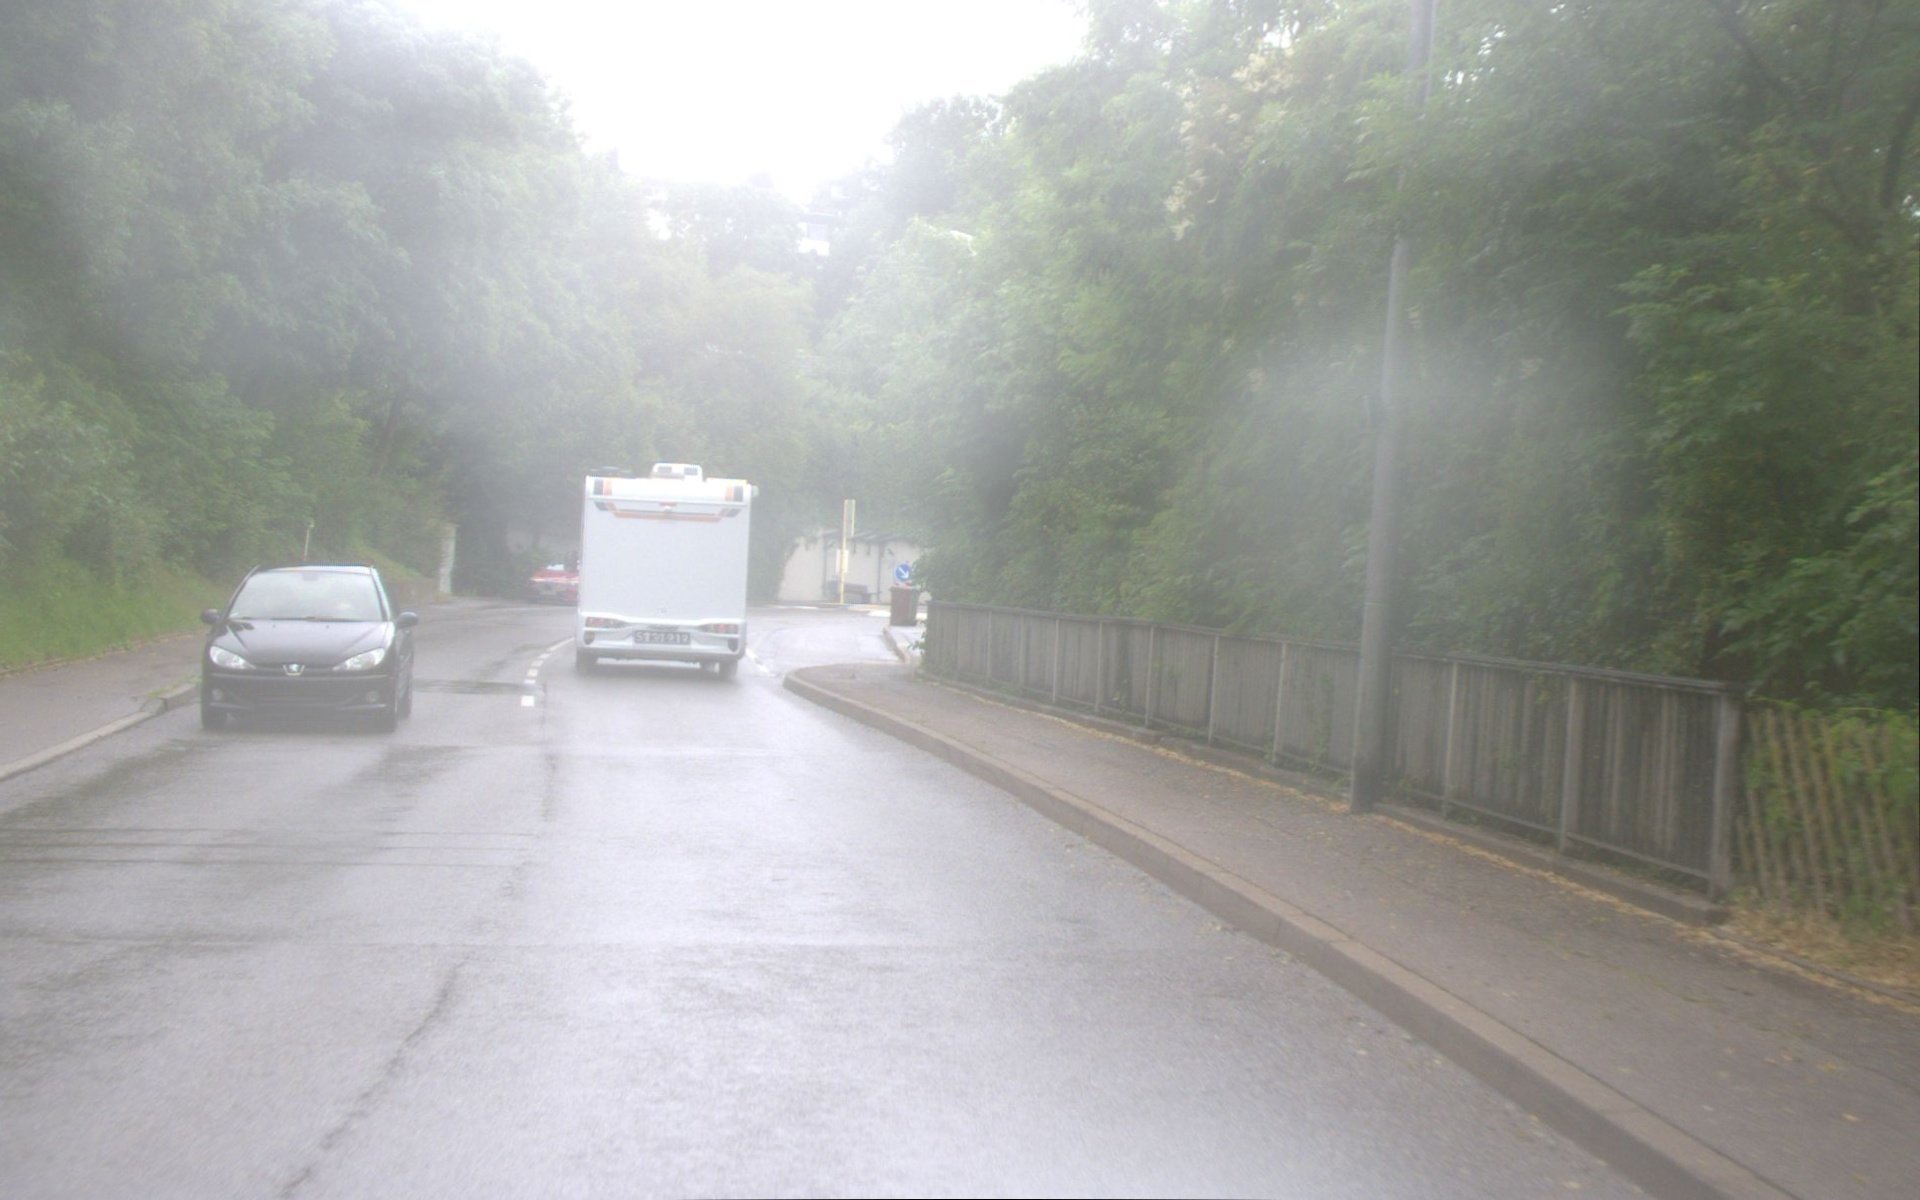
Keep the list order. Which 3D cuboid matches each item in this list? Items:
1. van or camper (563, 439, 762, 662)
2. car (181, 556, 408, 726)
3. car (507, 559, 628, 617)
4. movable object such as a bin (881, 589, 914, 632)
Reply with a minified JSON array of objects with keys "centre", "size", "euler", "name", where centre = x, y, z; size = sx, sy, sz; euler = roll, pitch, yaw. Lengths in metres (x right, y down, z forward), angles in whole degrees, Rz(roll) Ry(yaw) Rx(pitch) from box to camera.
[{"centre":[-4.268,-0.637,48.344],"size":[2.539,2.915,5.949],"euler":[-1,0,-7],"name":"van or camper"},{"centre":[-5.786,0.320,30.212],"size":[1.650,1.380,3.530],"euler":[1,1,-6],"name":"car"},{"centre":[-11.503,-0.342,101.119],"size":[1.995,1.556,4.650],"euler":[4,1,13],"name":"car"},{"centre":[-1.700,0.293,93.516],"size":[0.777,1.129,0.738],"euler":[3,0,4],"name":"movable object such as a bin"}]
